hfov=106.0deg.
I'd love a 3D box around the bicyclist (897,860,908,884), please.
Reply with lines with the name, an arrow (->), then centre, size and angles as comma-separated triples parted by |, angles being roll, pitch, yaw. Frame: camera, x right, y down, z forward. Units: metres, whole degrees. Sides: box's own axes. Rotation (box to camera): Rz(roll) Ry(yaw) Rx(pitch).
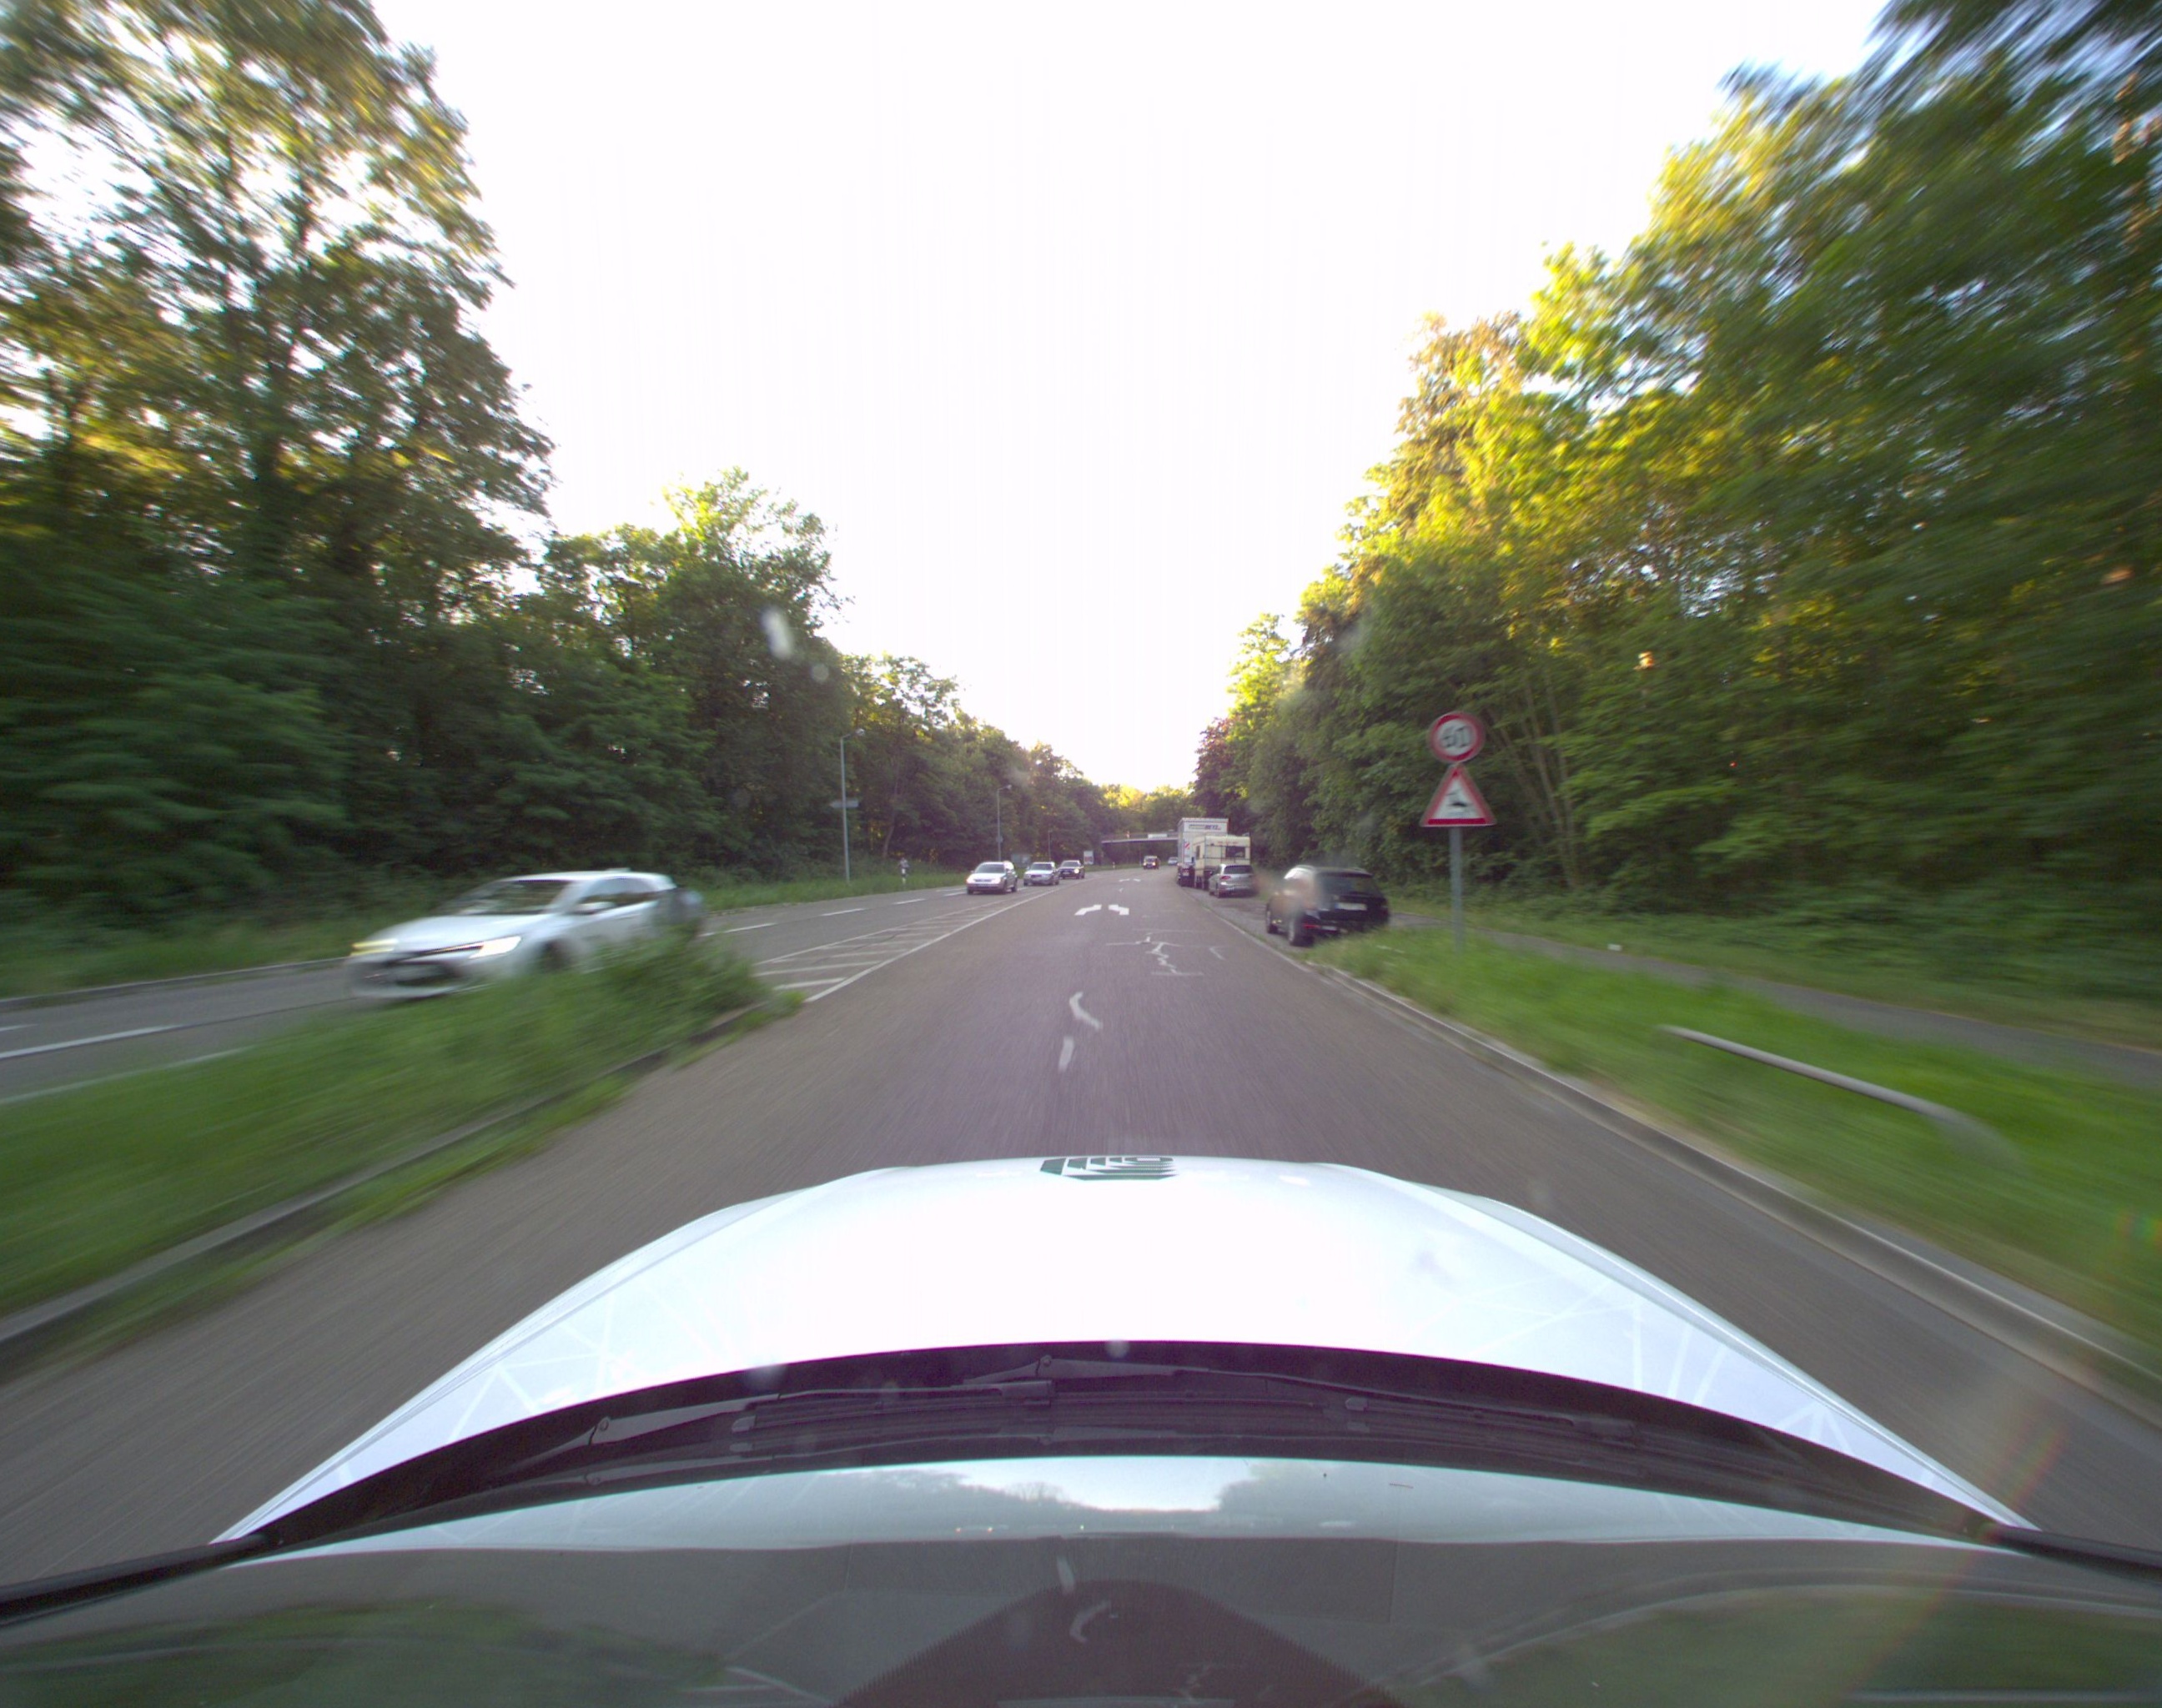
bicyclist -> -11.525, 1.149, 52.638 | 0.620, 1.511, 0.844 | -2, 0, -9

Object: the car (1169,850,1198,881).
car -> 7.484, 0.815, 59.571 | 1.983, 2.189, 4.937 | 1, 0, 6

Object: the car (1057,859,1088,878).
car -> -0.662, 1.122, 65.450 | 1.882, 1.440, 4.778 | 0, 0, 7

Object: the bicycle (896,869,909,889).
bicycle -> -11.504, 1.610, 52.618 | 0.630, 1.217, 2.254 | -2, 0, -9

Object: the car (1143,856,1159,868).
car -> 10.456, 1.188, 121.357 | 1.832, 1.800, 4.761 | 0, 0, 10

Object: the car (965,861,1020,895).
car -> -4.021, 1.077, 37.754 | 1.707, 1.446, 4.179 | -1, 0, 5

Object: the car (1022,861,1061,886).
car -> -2.354, 1.161, 49.623 | 1.711, 1.397, 4.382 | -1, 0, 6

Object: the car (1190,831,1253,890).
car -> 7.173, 0.344, 42.232 | 2.399, 2.858, 5.934 | 0, -1, 1

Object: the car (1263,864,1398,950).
car -> 4.668, 0.923, 15.780 | 1.656, 1.405, 3.946 | 1, 0, 4

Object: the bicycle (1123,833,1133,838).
bicycle -> 9.141, -3.490, 157.245 | 1.832, 0.949, 0.552 | 0, -1, 12

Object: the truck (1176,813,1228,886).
truck -> 7.343, -0.234, 50.288 | 2.644, 4.027, 9.737 | -1, 0, 6

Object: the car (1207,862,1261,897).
car -> 6.579, 1.069, 35.380 | 1.692, 1.406, 4.077 | -1, -1, 2

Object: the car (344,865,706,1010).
car -> -6.911, 0.968, 10.733 | 1.827, 1.507, 3.942 | -2, -2, 5

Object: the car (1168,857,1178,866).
car -> 19.065, 1.543, 168.541 | 1.832, 1.735, 4.011 | 0, 0, 10
